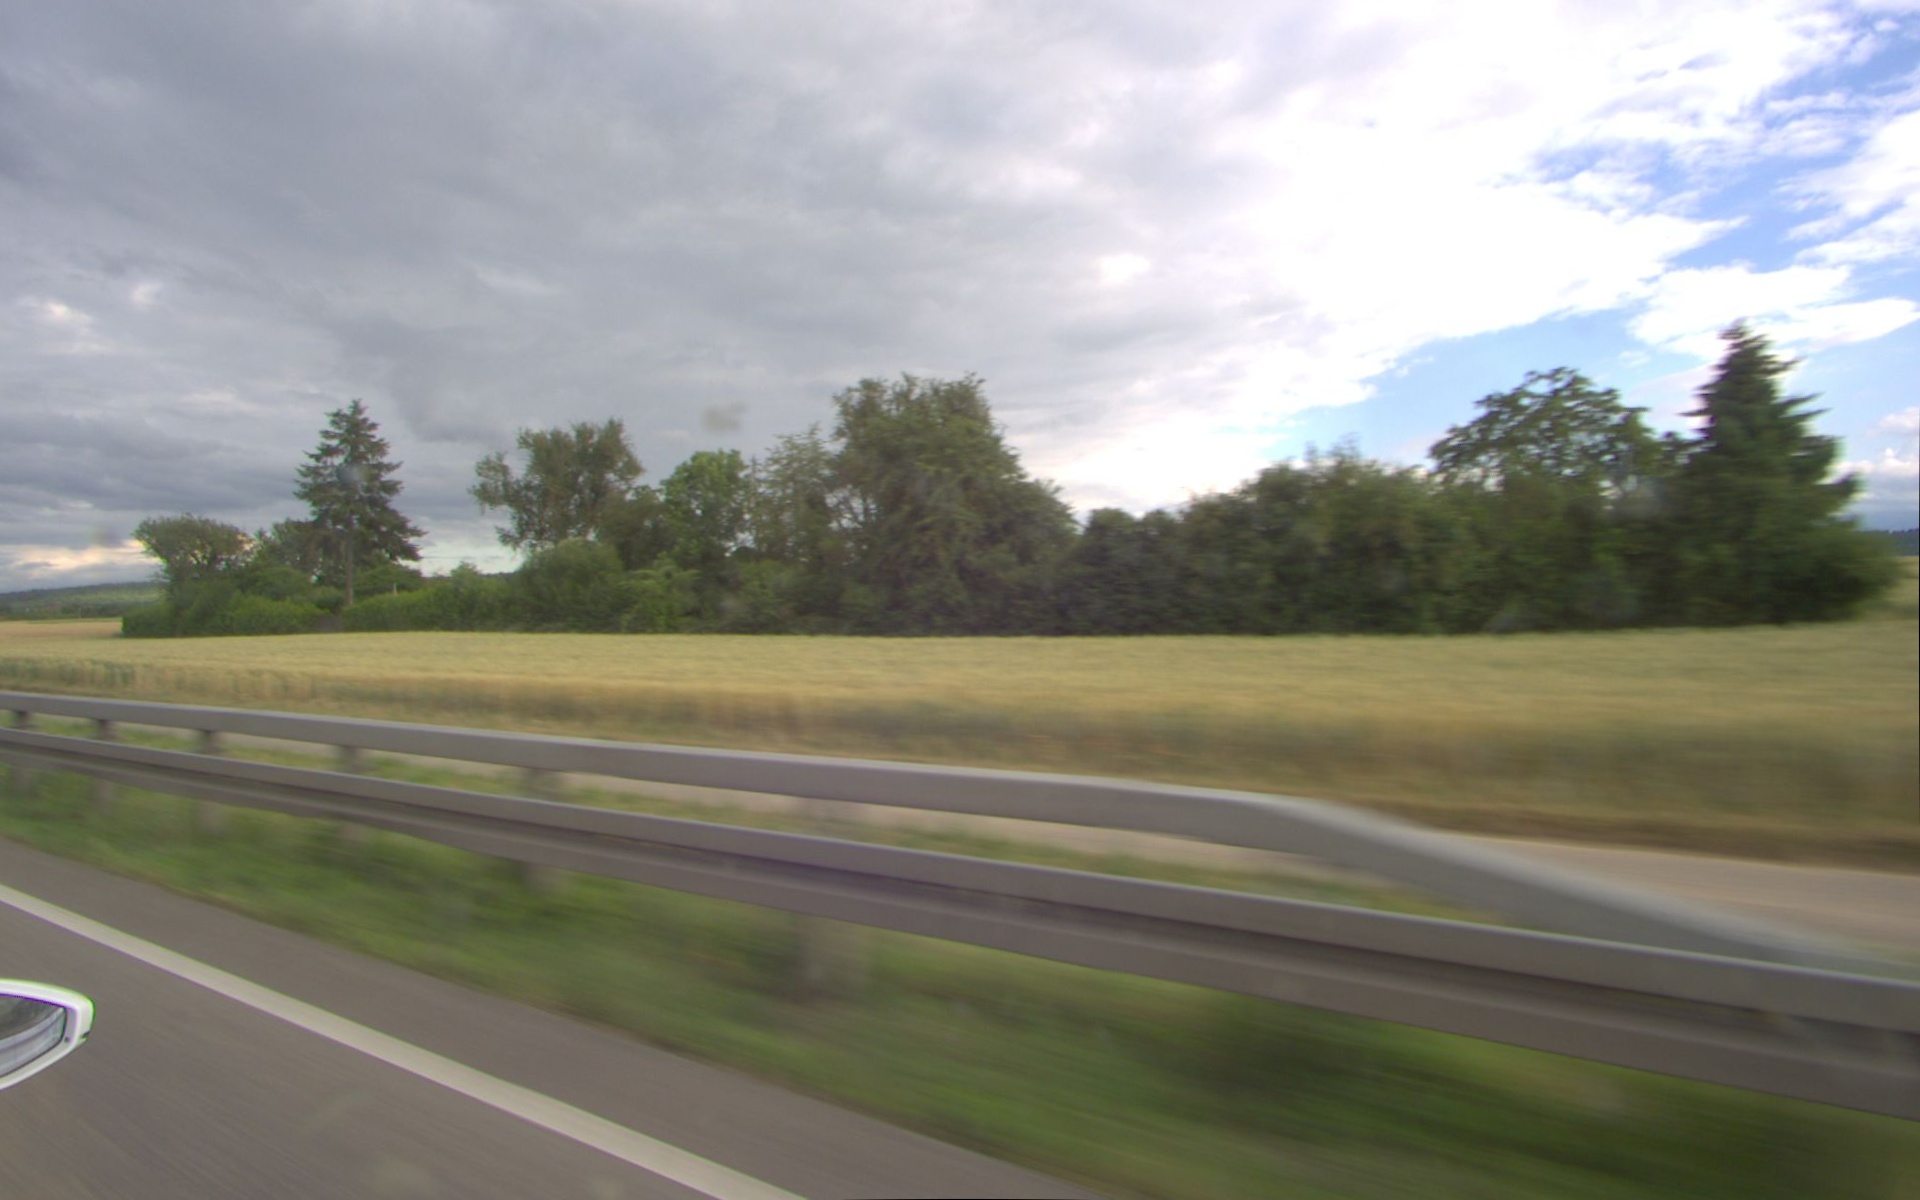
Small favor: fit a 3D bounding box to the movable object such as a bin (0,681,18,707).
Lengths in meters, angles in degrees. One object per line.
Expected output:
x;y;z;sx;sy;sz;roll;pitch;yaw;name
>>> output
-26.844;2.610;27.785;1.218;0.653;0.731;-1;-3;32;movable object such as a bin
